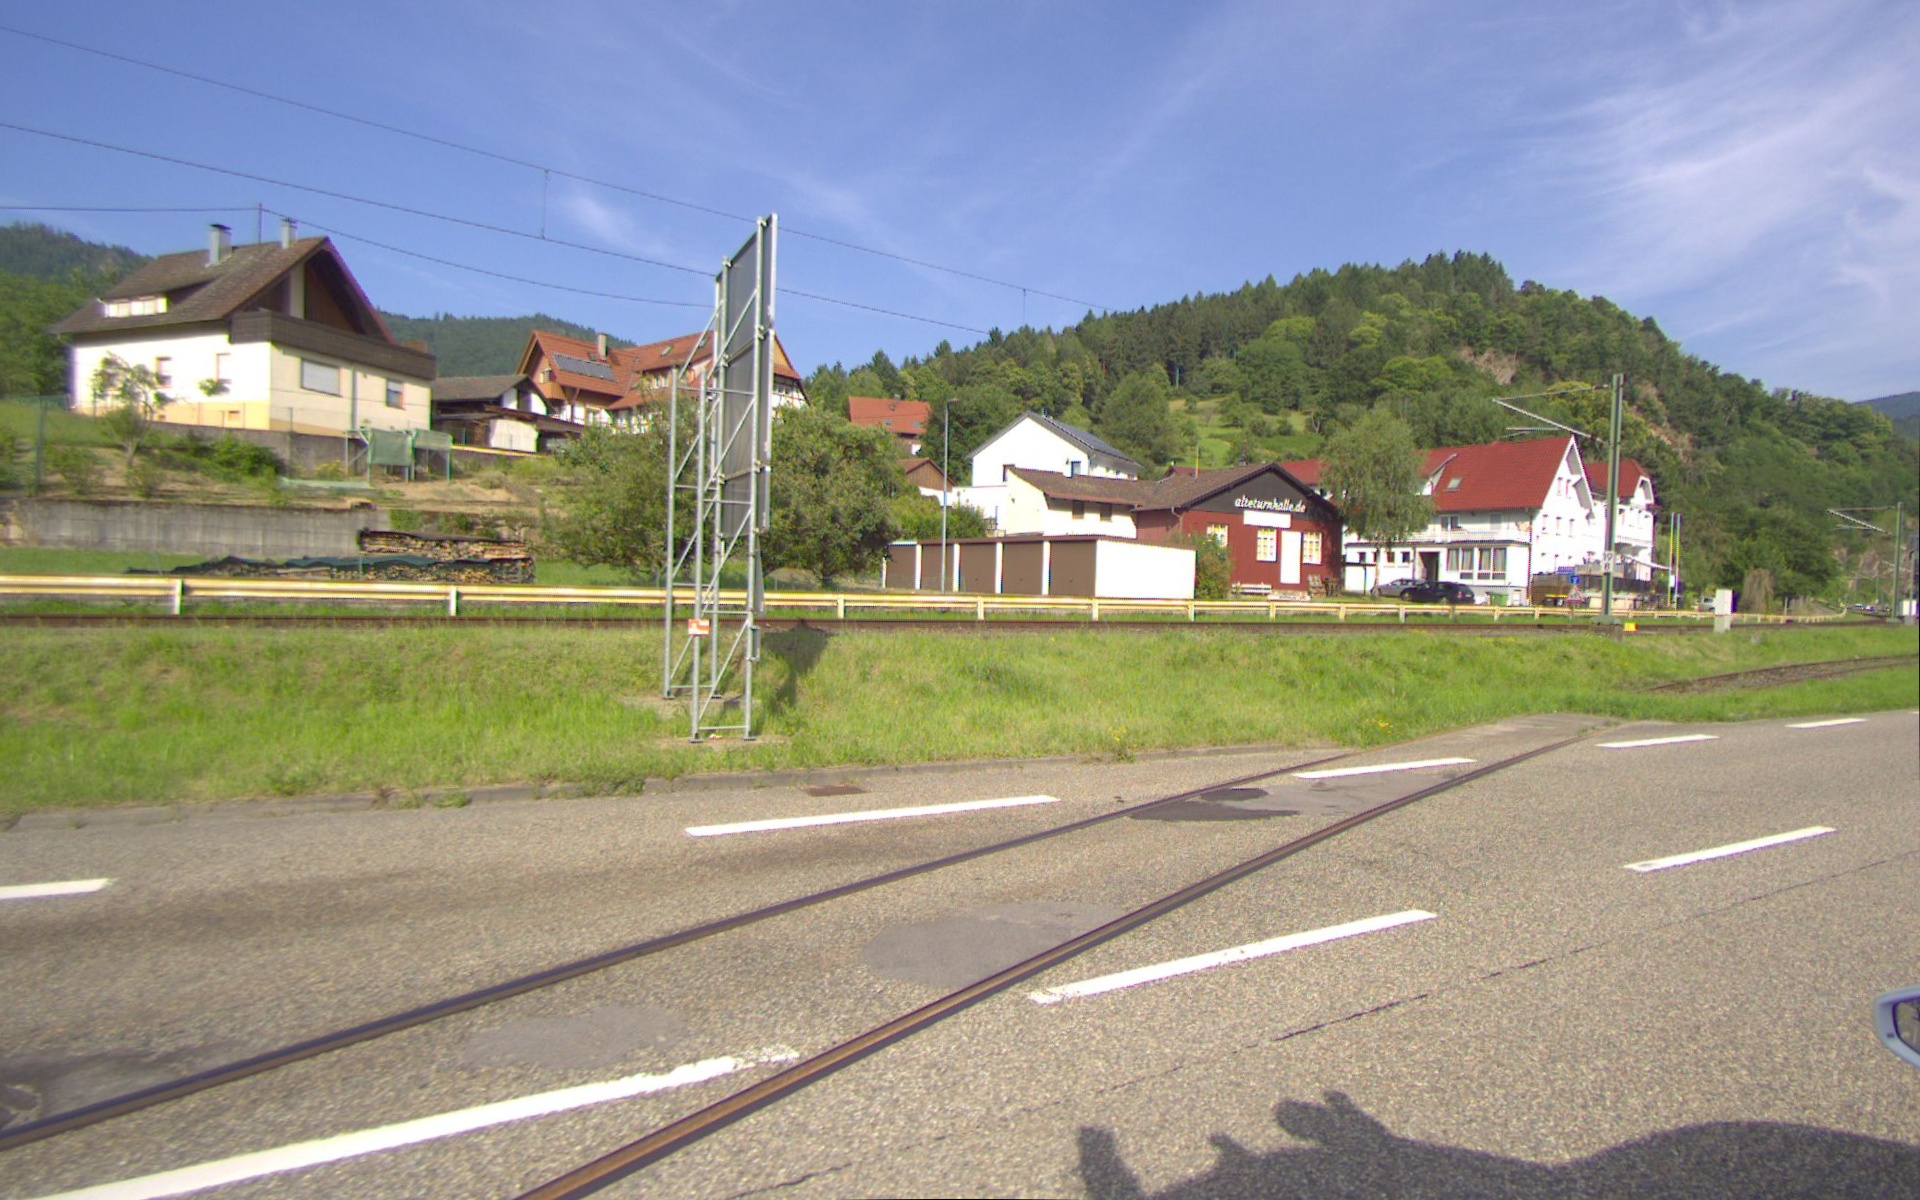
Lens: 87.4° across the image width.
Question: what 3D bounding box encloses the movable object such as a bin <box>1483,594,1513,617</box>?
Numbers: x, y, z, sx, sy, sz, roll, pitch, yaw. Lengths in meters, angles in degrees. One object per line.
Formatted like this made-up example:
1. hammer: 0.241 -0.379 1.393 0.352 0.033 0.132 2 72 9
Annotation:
1. movable object such as a bin: 29.354 0.288 54.831 1.086 1.208 1.128 1 2 -45

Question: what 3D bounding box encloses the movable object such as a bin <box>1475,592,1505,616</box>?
1. movable object such as a bin: 28.481 0.222 53.972 1.086 1.208 1.128 1 2 -45

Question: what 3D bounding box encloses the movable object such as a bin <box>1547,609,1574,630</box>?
1. movable object such as a bin: 37.513 1.208 62.720 1.134 1.208 1.081 2 1 -39

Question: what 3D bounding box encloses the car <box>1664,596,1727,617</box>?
1. car: 65.476 0.551 89.484 1.983 1.714 4.110 2 1 -39

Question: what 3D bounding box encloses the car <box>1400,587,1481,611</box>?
1. car: 29.124 -0.065 60.946 1.721 1.287 4.064 1 1 -37

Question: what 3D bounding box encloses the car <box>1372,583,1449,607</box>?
1. car: 29.301 -0.340 65.420 1.739 1.347 4.220 1 1 -38
